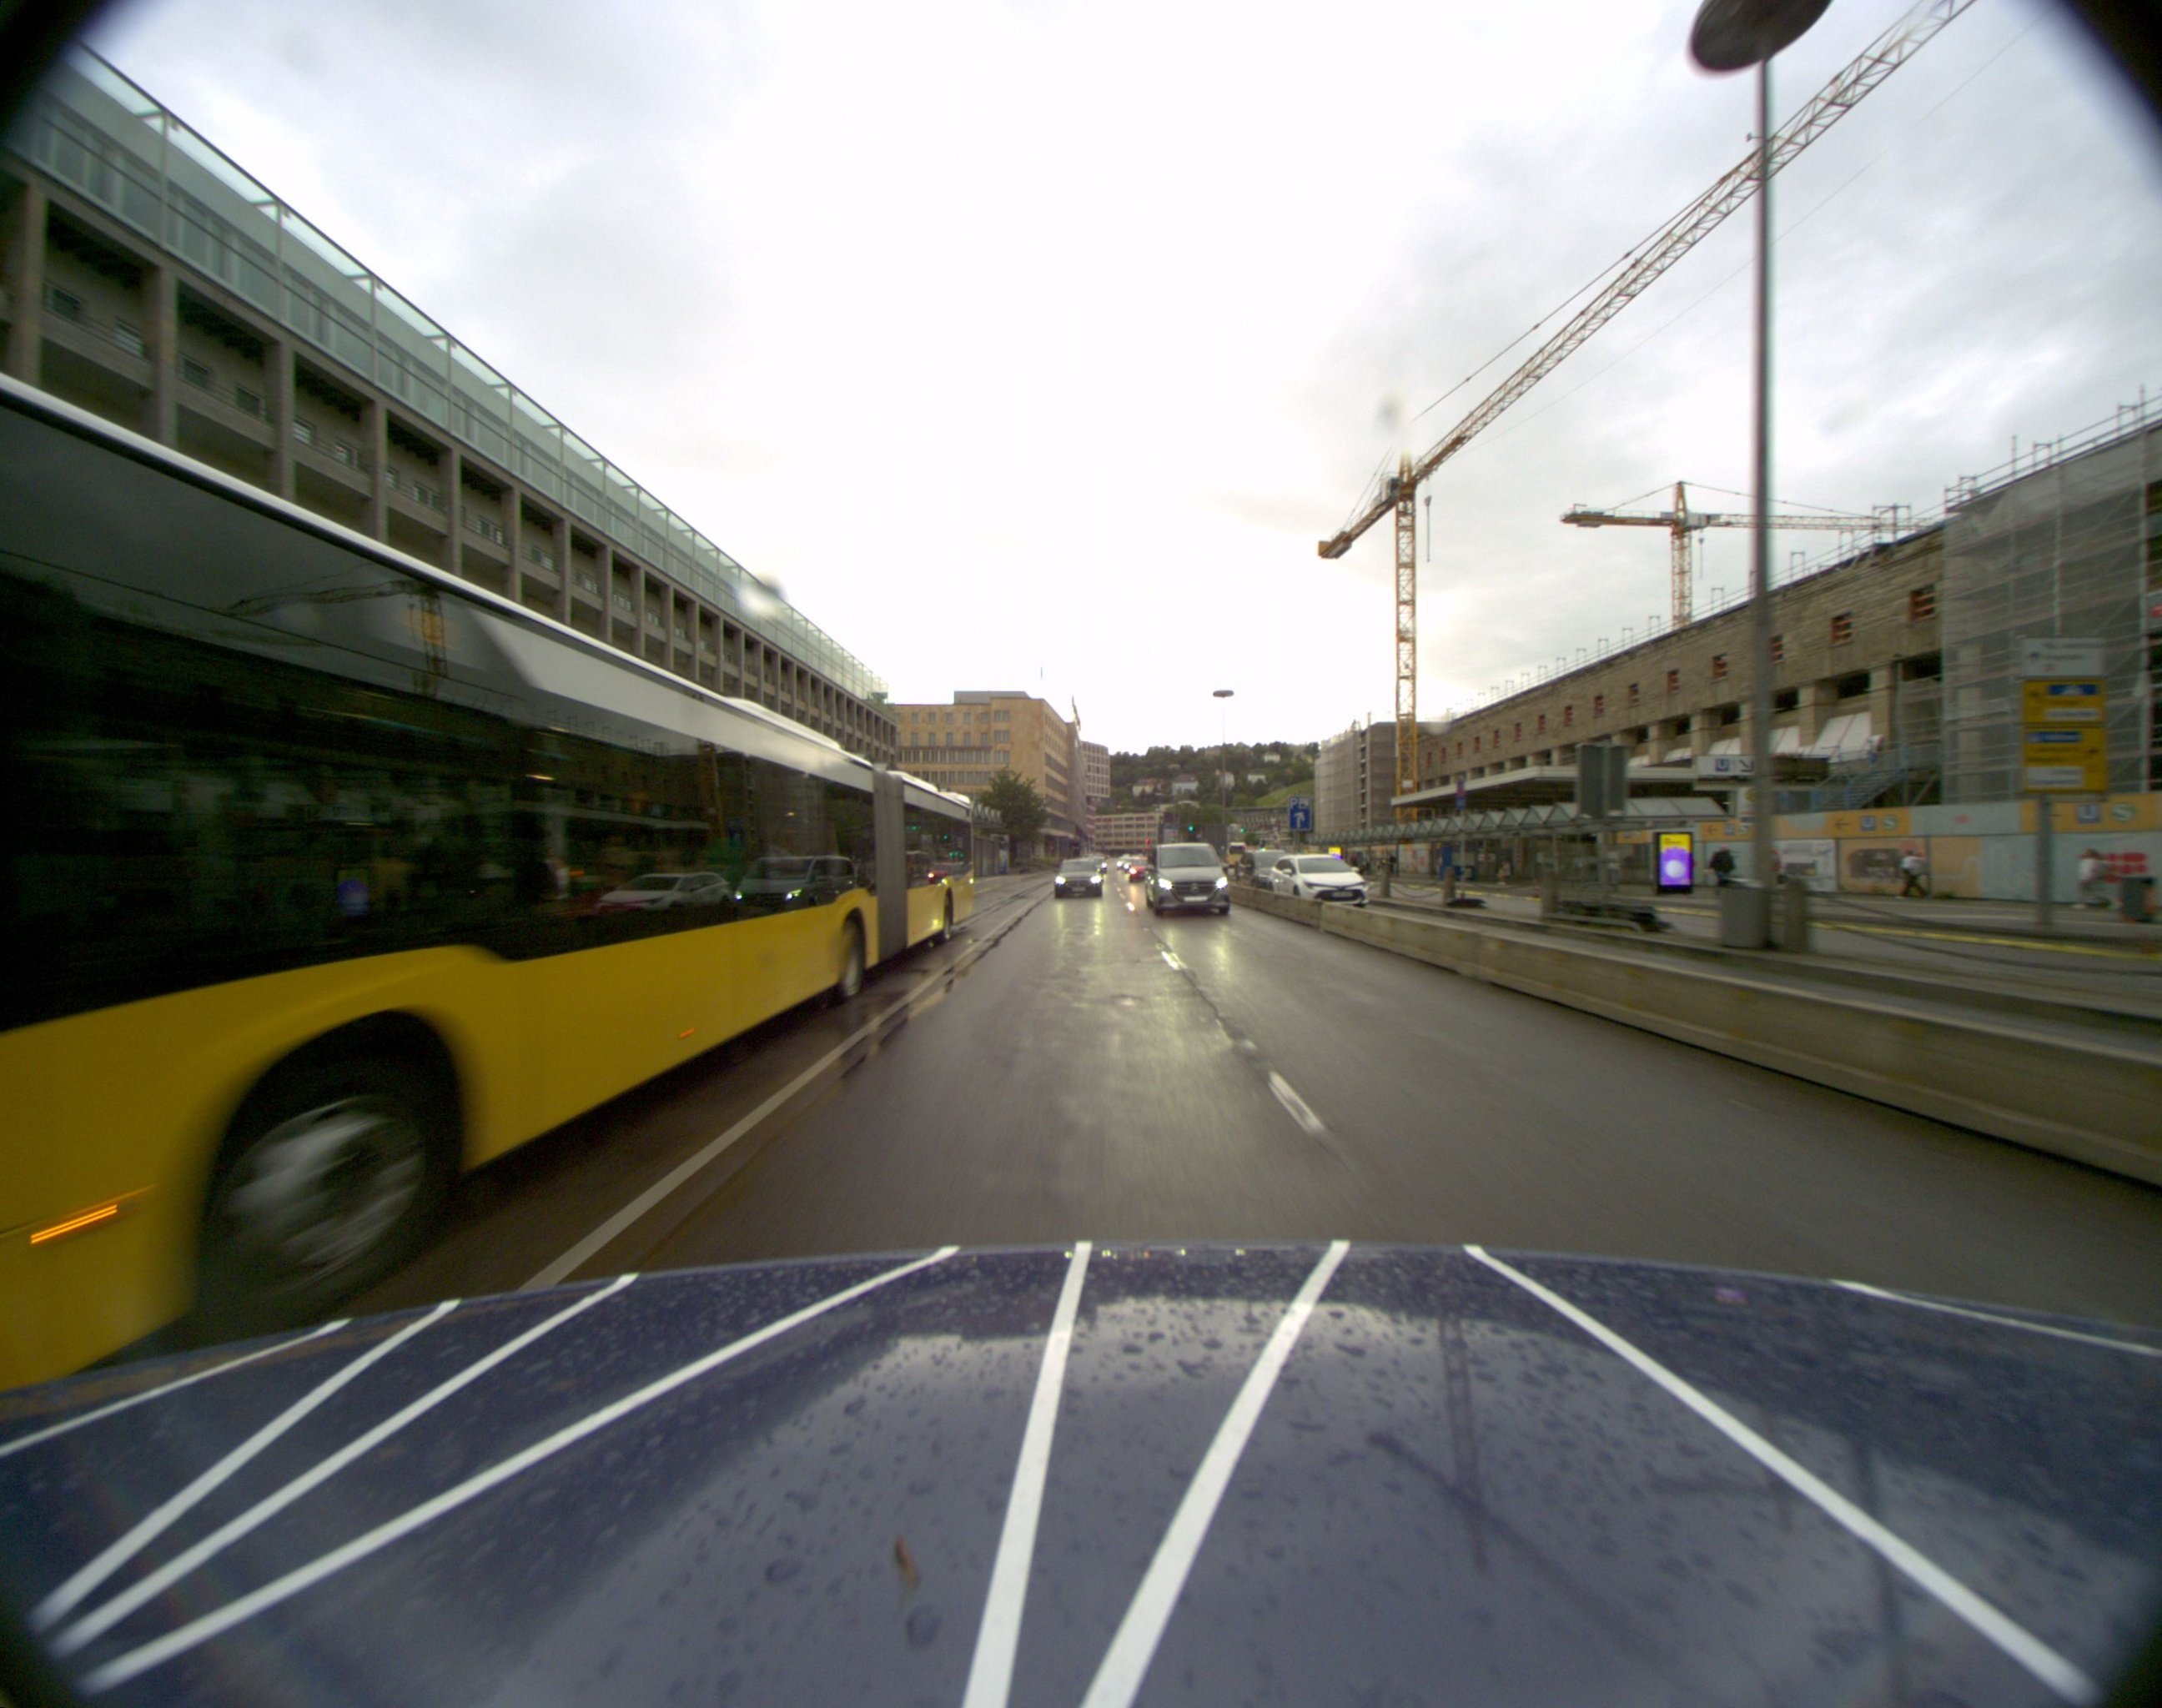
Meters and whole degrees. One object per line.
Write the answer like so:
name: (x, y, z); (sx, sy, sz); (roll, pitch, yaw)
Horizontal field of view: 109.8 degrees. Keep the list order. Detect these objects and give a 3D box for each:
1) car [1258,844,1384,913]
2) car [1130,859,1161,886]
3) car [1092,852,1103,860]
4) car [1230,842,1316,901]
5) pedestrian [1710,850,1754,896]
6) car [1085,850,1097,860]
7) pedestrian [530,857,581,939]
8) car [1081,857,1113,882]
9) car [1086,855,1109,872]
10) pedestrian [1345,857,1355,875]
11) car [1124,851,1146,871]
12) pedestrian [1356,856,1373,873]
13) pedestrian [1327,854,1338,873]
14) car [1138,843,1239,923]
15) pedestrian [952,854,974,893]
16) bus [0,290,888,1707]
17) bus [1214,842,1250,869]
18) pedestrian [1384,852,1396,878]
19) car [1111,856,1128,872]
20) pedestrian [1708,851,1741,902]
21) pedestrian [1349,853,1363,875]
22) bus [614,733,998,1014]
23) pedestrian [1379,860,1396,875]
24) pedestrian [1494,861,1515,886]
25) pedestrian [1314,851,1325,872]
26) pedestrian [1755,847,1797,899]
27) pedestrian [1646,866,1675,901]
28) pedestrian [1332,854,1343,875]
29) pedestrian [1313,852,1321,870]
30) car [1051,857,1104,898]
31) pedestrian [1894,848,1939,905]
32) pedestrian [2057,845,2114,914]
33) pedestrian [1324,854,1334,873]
car: (6.526, 0.598, 21.297); (1.998, 1.696, 4.832); (0, 0, 0)
car: (3.857, 1.081, 45.801); (1.709, 1.485, 3.670); (-1, 1, 2)
car: (3.375, 0.384, 154.918); (1.998, 1.600, 4.877); (-1, 0, 3)
car: (6.569, 0.545, 26.486); (1.998, 1.851, 4.833); (0, 0, 3)
pedestrian: (26.791, 0.771, 31.297); (0.859, 1.830, 1.045); (-2, 1, 2)
car: (1.831, 0.137, 139.250); (1.998, 1.873, 4.998); (-1, 0, 3)
pedestrian: (-11.913, 0.960, 17.257); (0.790, 1.794, 0.990); (-1, 1, -27)
car: (1.086, 0.959, 48.165); (1.876, 1.499, 4.165); (-1, 0, 3)
car: (1.555, 0.864, 70.551); (1.998, 1.548, 3.909); (-1, 0, 3)
pedestrian: (24.368, 1.116, 68.731); (0.557, 1.621, 0.805); (-1, 1, -6)
car: (5.020, 0.675, 71.208); (1.872, 1.747, 3.902); (-1, 1, 2)
pedestrian: (23.676, 0.857, 63.450); (1.057, 1.424, 0.831); (-1, 0, 1)
pedestrian: (22.857, 0.865, 69.072); (0.726, 1.780, 0.747); (-1, 1, -4)
car: (2.819, 0.706, 21.130); (1.998, 1.893, 5.250); (-2, 0, 0)
pedestrian: (-5.129, 0.827, 33.082); (0.762, 1.680, 0.997); (-1, 1, -19)
bus: (-3.948, 0.318, 4.313); (3.121, 3.186, 9.241); (-2, 1, 1)
bus: (21.702, 0.205, 110.475); (2.916, 3.557, 19.082); (1, 0, 4)
pedestrian: (22.106, 0.756, 54.388); (0.679, 1.837, 0.556); (-1, 1, -43)
car: (4.551, 1.121, 89.201); (1.872, 1.715, 3.902); (-1, 1, 2)
pedestrian: (23.516, 0.800, 27.786); (0.745, 1.830, 0.703); (-1, 1, 22)
pedestrian: (22.580, 0.784, 62.443); (0.674, 1.780, 0.781); (-1, 1, -33)
bus: (-3.735, 0.198, 13.493); (3.149, 3.229, 9.135); (-1, 1, 2)
pedestrian: (23.666, 1.024, 58.673); (0.952, 1.151, 1.055); (-1, 0, 2)
pedestrian: (22.454, 1.029, 40.288); (0.701, 1.318, 0.805); (-1, 0, 0)
pedestrian: (22.646, 0.714, 72.058); (0.761, 1.947, 0.822); (-1, 1, -1)
pedestrian: (26.579, 0.732, 29.082); (0.744, 1.928, 0.864); (-3, 1, -2)
pedestrian: (26.494, 1.350, 34.752); (0.805, 1.538, 0.701); (-1, 1, -3)
pedestrian: (22.072, 0.870, 65.390); (0.776, 1.780, 0.861); (-1, 1, 9)
pedestrian: (23.380, 0.731, 75.283); (0.700, 1.780, 0.795); (-1, 1, 14)
car: (-0.062, 0.903, 31.010); (1.822, 1.455, 4.701); (-2, 0, 3)
pedestrian: (27.213, 0.733, 24.754); (0.744, 1.830, 0.656); (-1, 1, 5)
pedestrian: (27.076, 0.689, 20.489); (0.723, 1.830, 0.612); (-1, 1, 5)
pedestrian: (23.113, 0.849, 70.784); (0.557, 1.780, 0.805); (-1, 1, -6)
